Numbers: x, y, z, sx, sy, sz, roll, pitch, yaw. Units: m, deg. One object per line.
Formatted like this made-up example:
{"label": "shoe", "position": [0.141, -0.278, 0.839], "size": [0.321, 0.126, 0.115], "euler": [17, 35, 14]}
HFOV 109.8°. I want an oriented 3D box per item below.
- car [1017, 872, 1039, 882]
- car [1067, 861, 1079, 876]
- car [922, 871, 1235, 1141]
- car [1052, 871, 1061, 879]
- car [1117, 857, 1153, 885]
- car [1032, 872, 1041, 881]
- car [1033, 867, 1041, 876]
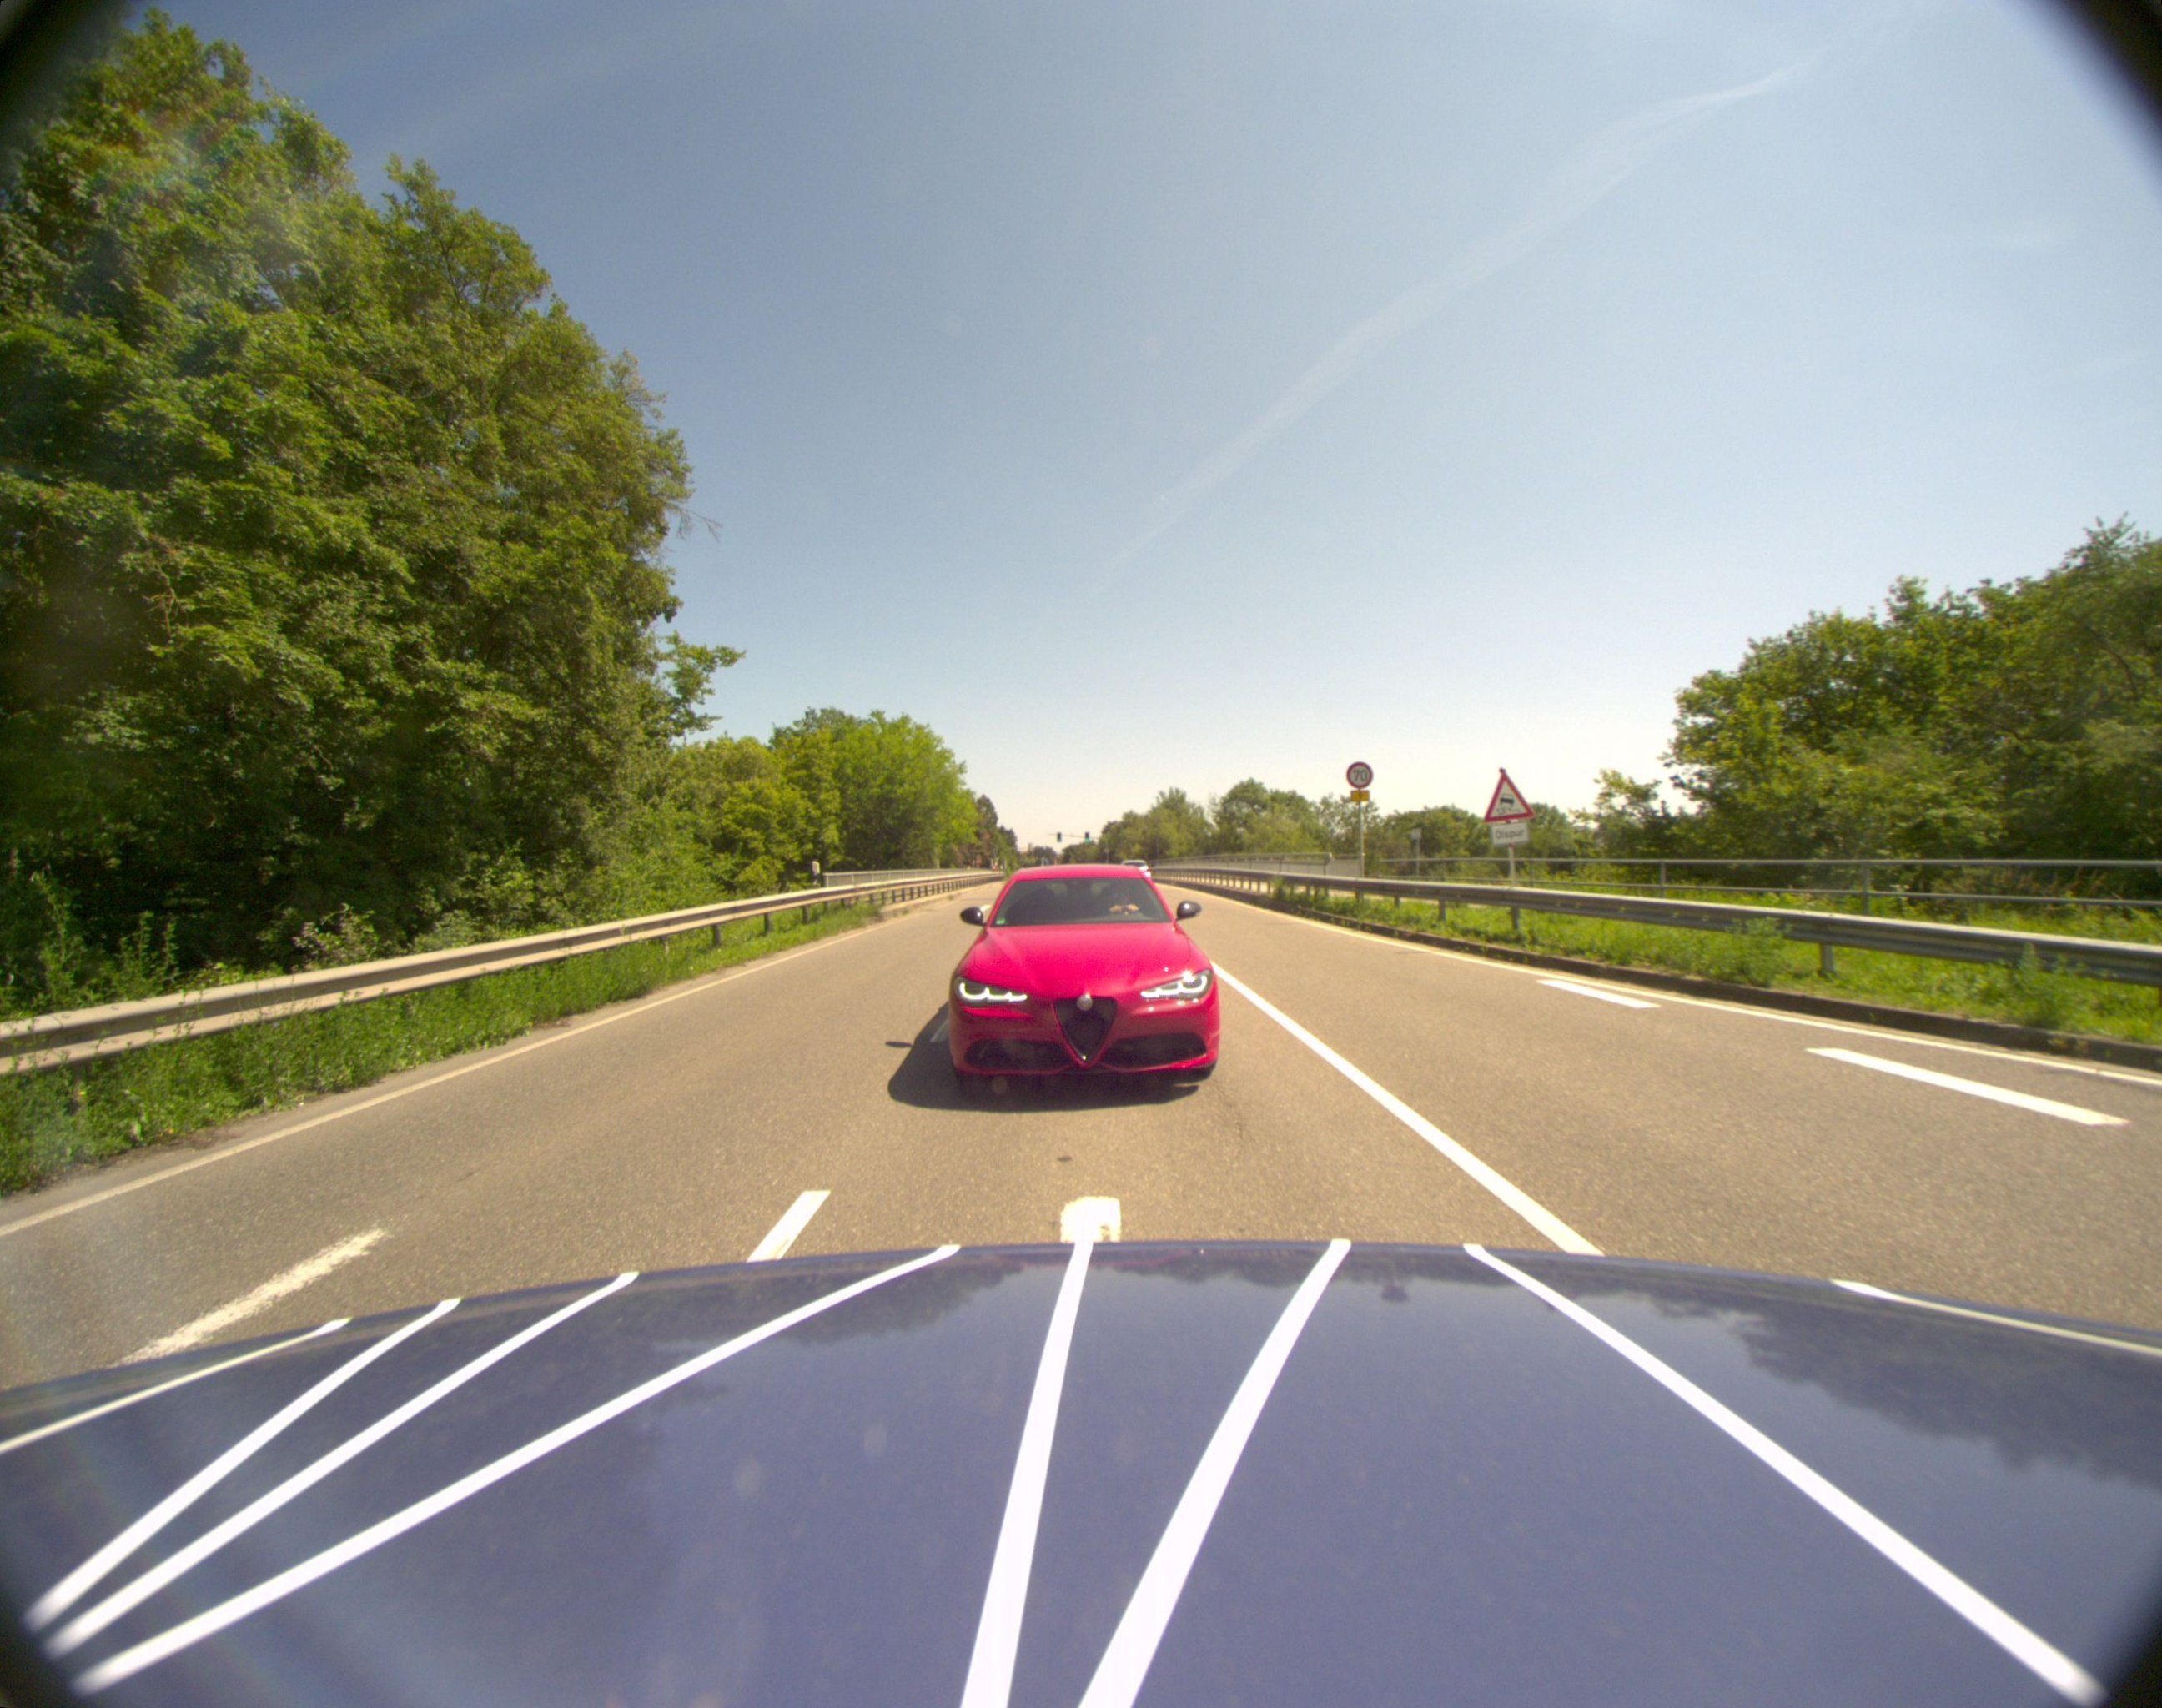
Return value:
{"label": "car", "position": [-7.887, 3.450, 113.613], "size": [1.805, 1.448, 3.697], "euler": [-1, 0, -31]}
{"label": "car", "position": [-1.414, 2.459, 132.083], "size": [1.995, 2.354, 5.181], "euler": [-2, 0, -1]}
{"label": "car", "position": [-0.045, 0.935, 6.584], "size": [1.800, 1.448, 4.284], "euler": [-1, 0, -1]}
{"label": "car", "position": [-5.667, 4.864, 177.100], "size": [1.848, 1.758, 3.999], "euler": [-1, 0, -1]}
{"label": "car", "position": [2.979, 0.927, 42.365], "size": [1.648, 1.410, 3.765], "euler": [-2, 0, -1]}
{"label": "car", "position": [-7.667, 3.912, 131.030], "size": [1.416, 1.499, 3.315], "euler": [-1, 0, -3]}
{"label": "car", "position": [-8.410, 3.331, 144.330], "size": [1.476, 1.565, 3.487], "euler": [-1, 1, -4]}
